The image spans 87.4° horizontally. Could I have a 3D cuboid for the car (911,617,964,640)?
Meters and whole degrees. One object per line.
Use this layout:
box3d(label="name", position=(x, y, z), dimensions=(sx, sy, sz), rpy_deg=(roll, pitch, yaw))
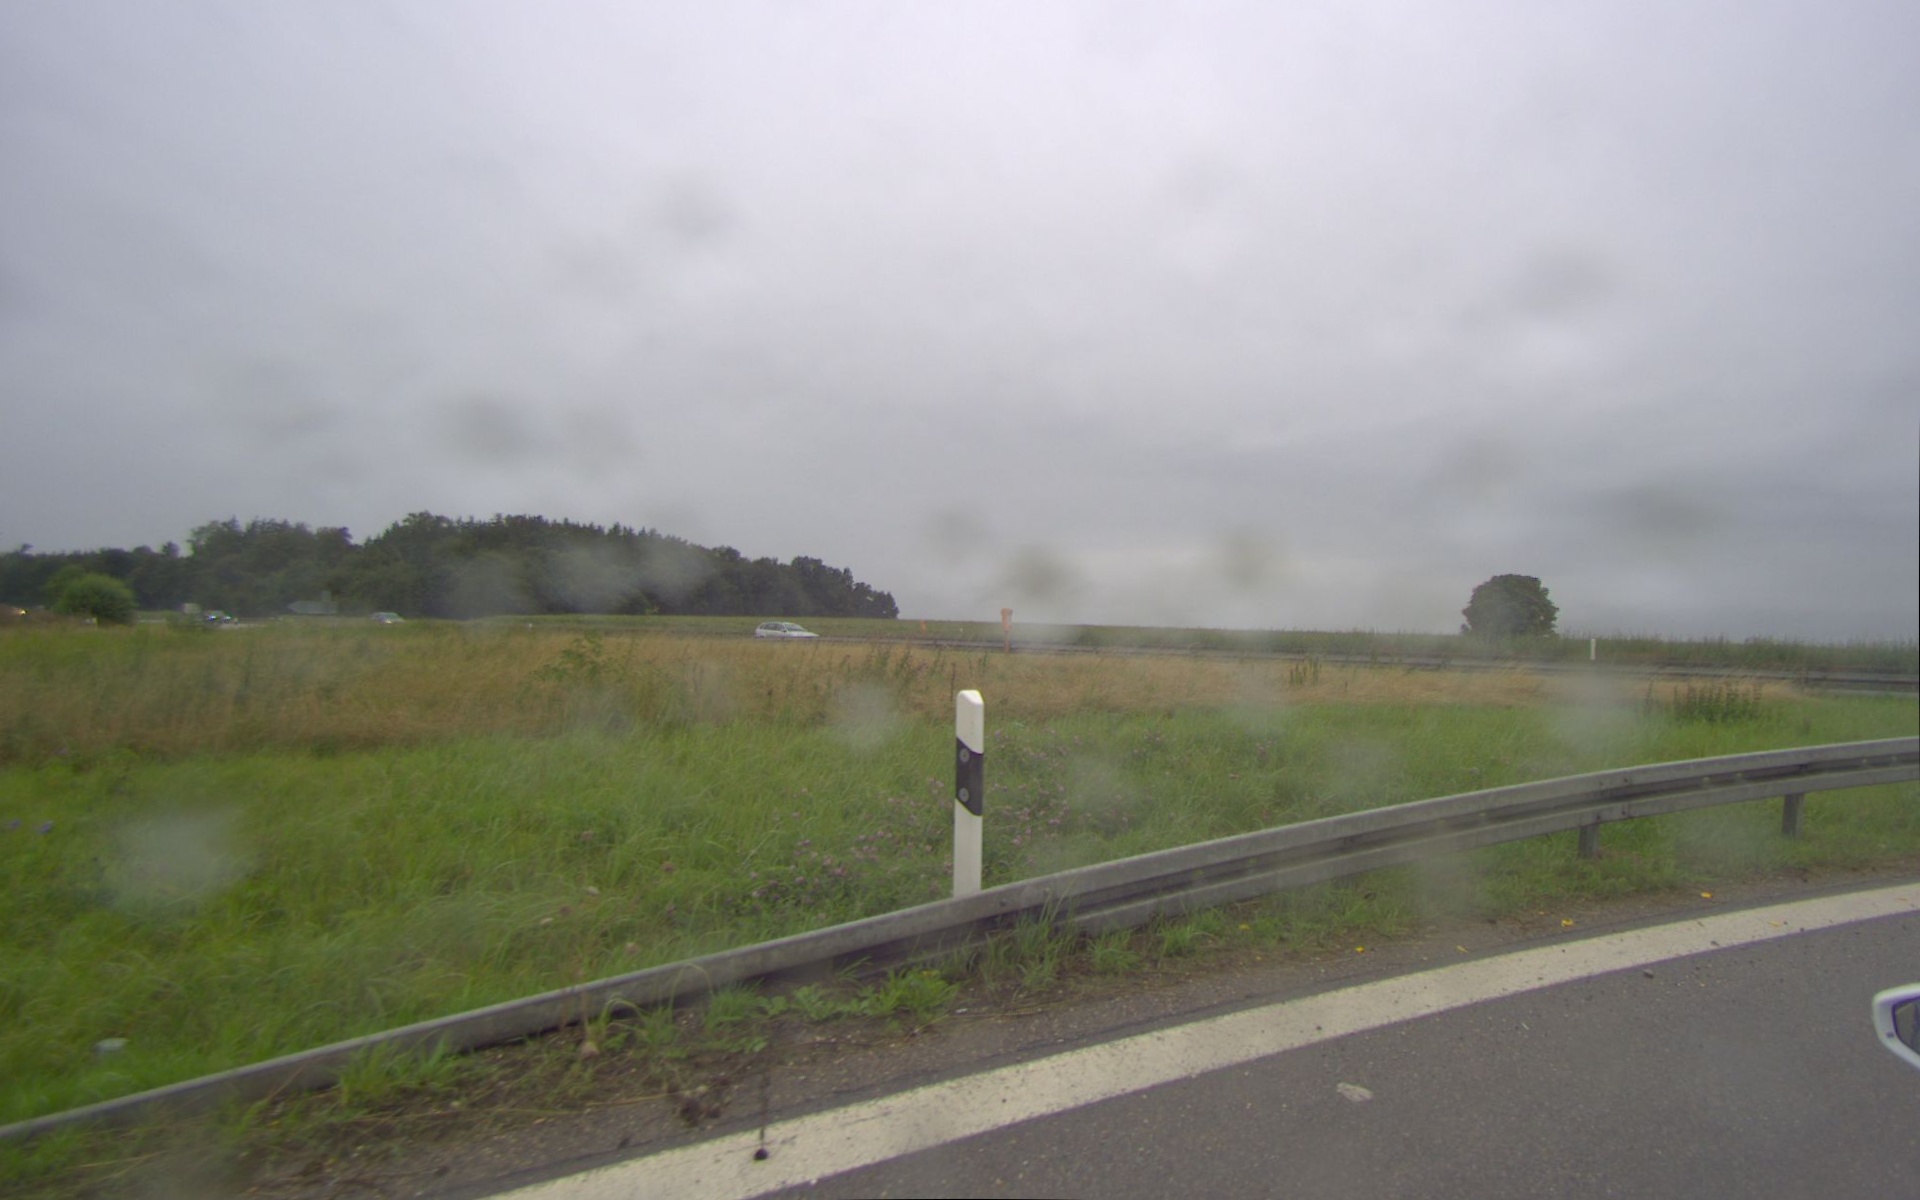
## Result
box3d(label="car", position=(-1.799, 2.201, 79.030), dimensions=(3.937, 1.760, 1.729), rpy_deg=(0, -1, 38))

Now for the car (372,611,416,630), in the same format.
box3d(label="car", position=(-53.288, 1.900, 94.505), dimensions=(5.024, 1.655, 1.860), rpy_deg=(0, -2, 40))

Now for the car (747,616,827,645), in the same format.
box3d(label="car", position=(-9.889, 1.717, 57.113), dimensions=(4.724, 1.507, 1.872), rpy_deg=(0, -3, 40))

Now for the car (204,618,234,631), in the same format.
box3d(label="car", position=(-94.820, 3.159, 128.506), dimensions=(4.528, 1.473, 2.090), rpy_deg=(0, -3, 41))
